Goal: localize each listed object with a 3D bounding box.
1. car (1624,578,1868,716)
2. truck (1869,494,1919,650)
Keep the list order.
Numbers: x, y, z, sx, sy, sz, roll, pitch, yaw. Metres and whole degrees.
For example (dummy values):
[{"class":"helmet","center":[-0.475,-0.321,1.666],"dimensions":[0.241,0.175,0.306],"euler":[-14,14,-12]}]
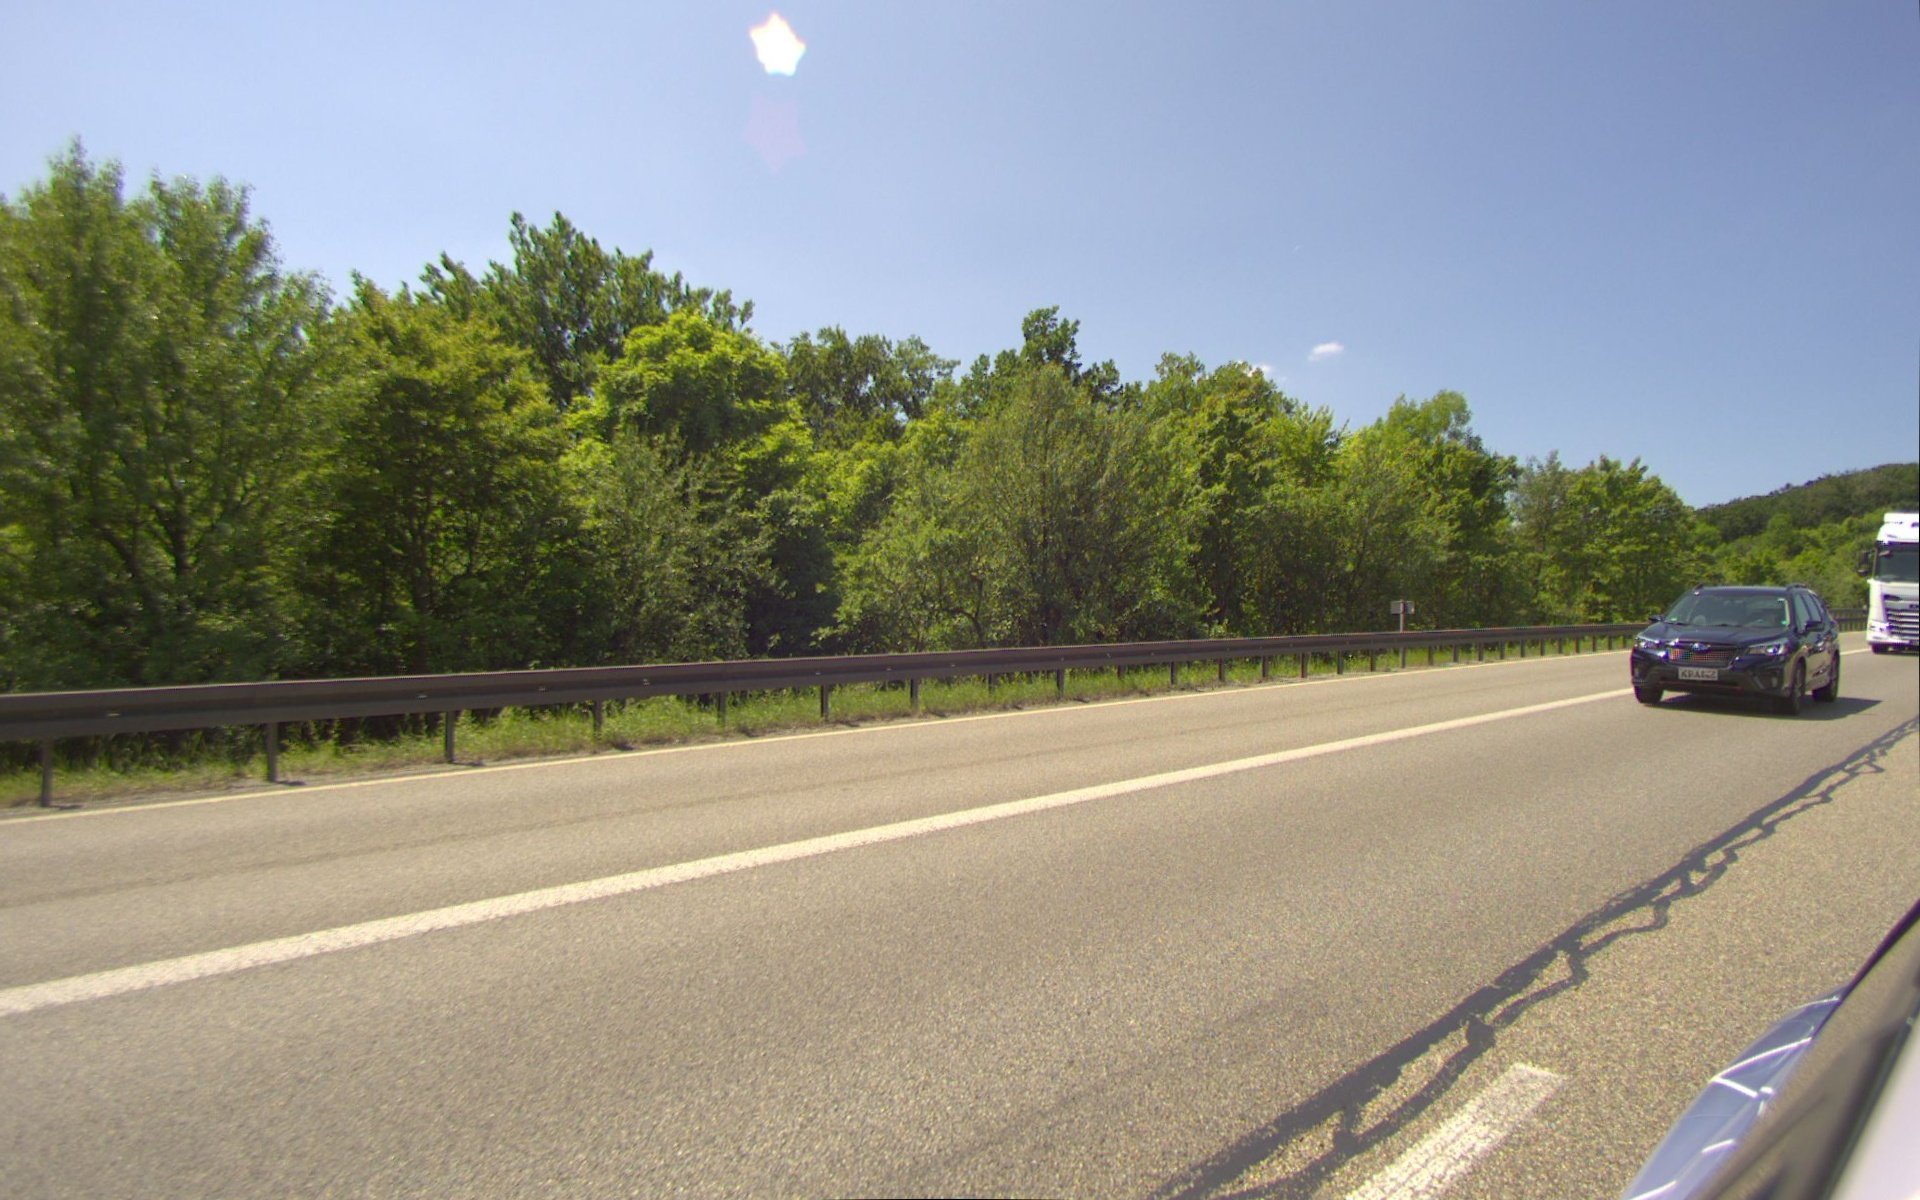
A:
[{"class":"car","center":[11.261,0.539,14.415],"dimensions":[4.127,1.688,1.816],"euler":[-1,1,-38]},{"class":"truck","center":[32.348,-0.761,32.342],"dimensions":[15.980,4.221,2.788],"euler":[0,0,-40]}]
